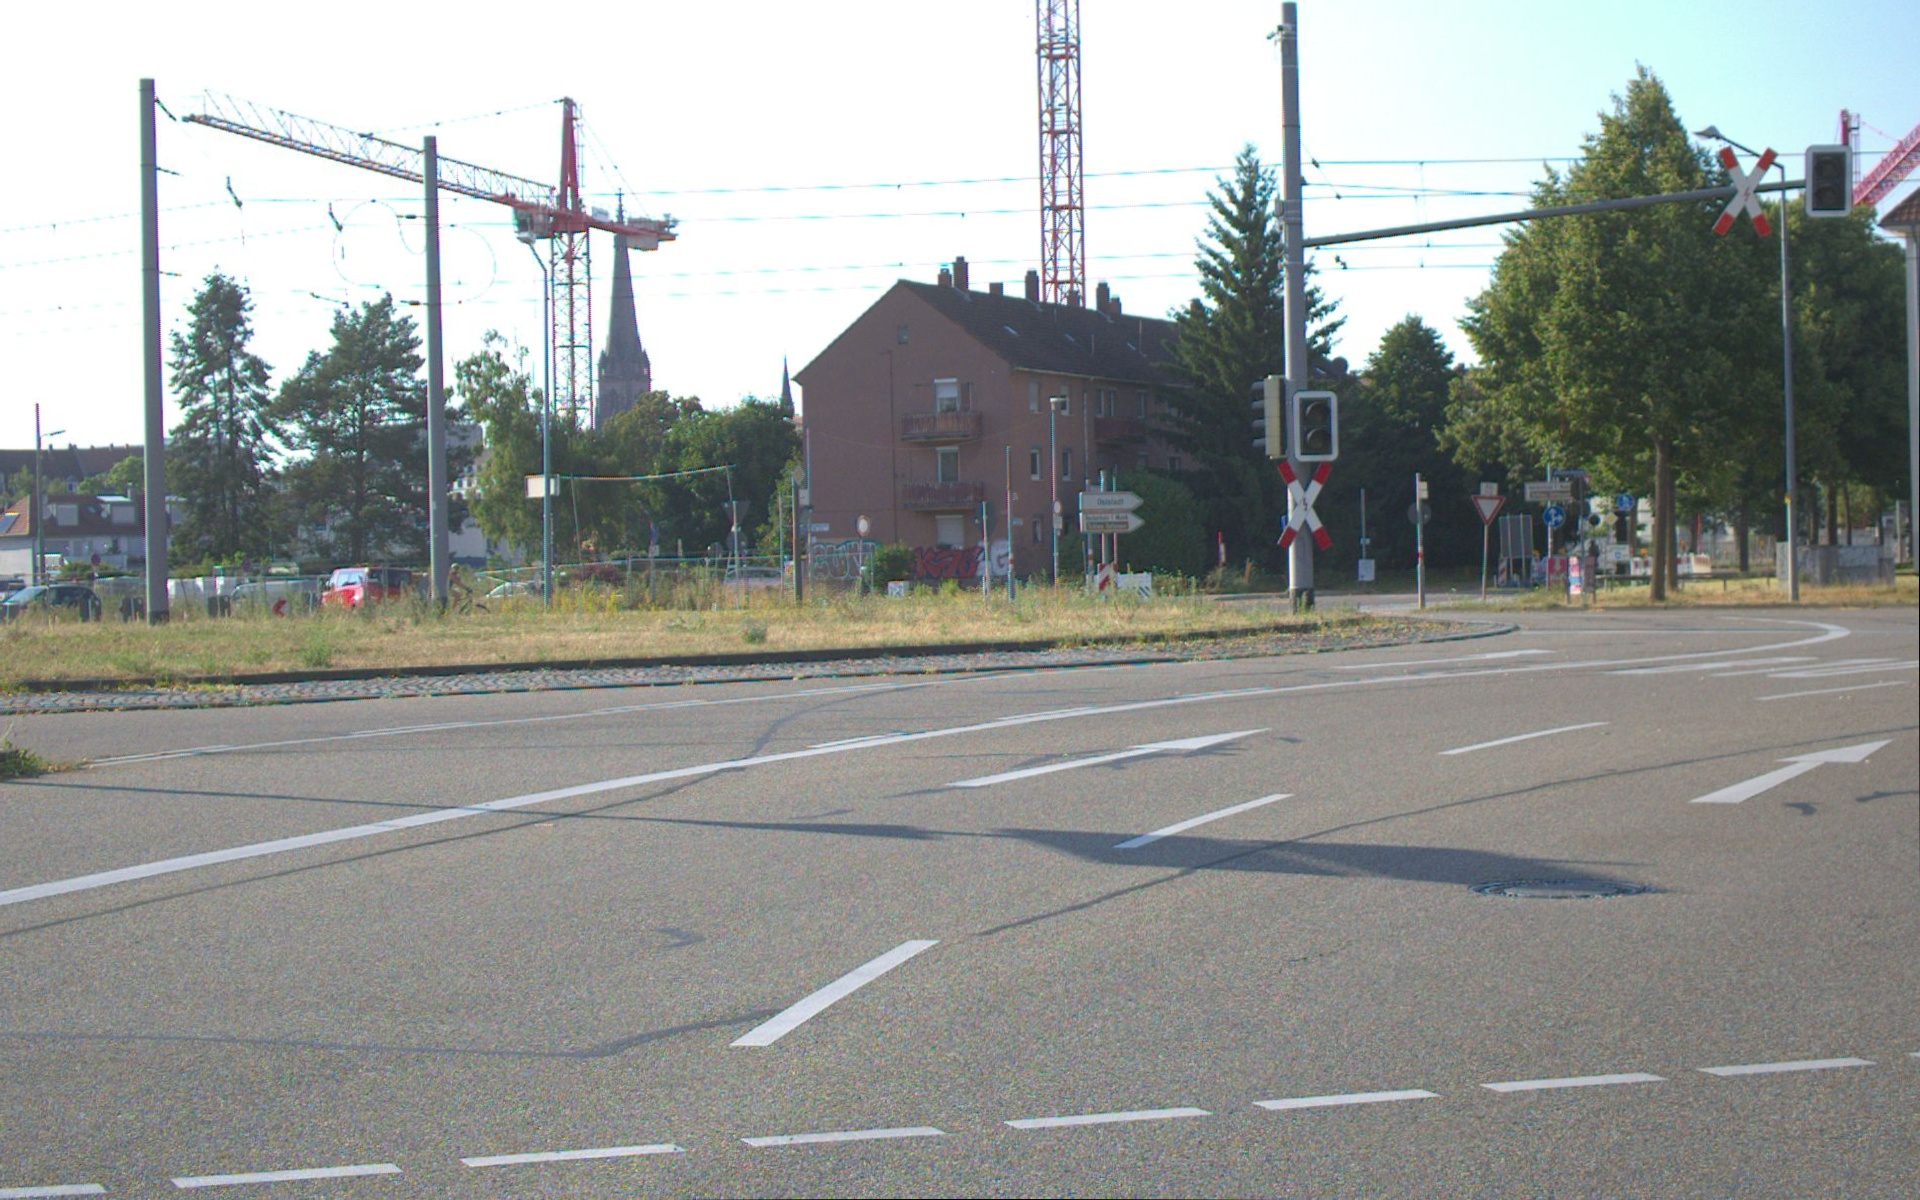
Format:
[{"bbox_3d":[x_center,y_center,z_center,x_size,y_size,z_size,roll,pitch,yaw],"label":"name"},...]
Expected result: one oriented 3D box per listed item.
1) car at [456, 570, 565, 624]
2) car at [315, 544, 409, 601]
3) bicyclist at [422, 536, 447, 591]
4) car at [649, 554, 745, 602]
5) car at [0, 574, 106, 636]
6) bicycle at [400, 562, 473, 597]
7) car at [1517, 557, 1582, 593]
[{"bbox_3d":[-17.345,-0.118,132.662,3.812,2.007,1.670,-1,0,19],"label":"car"},{"bbox_3d":[-20.189,-0.942,116.011,1.919,1.847,4.000,-2,1,-29],"label":"car"},{"bbox_3d":[-14.677,-1.019,96.047,0.622,1.506,0.419,-1,1,-5],"label":"bicyclist"},{"bbox_3d":[-11.452,-0.978,149.678,3.812,2.007,1.670,-1,0,19],"label":"car"},{"bbox_3d":[-28.382,0.147,105.036,3.987,1.809,2.000,-2,1,-32],"label":"car"},{"bbox_3d":[-14.624,-0.569,96.063,1.987,0.915,0.430,-1,1,-6],"label":"bicycle"},{"bbox_3d":[22.390,-0.957,130.522,1.457,1.295,3.544,-1,1,26],"label":"car"}]
